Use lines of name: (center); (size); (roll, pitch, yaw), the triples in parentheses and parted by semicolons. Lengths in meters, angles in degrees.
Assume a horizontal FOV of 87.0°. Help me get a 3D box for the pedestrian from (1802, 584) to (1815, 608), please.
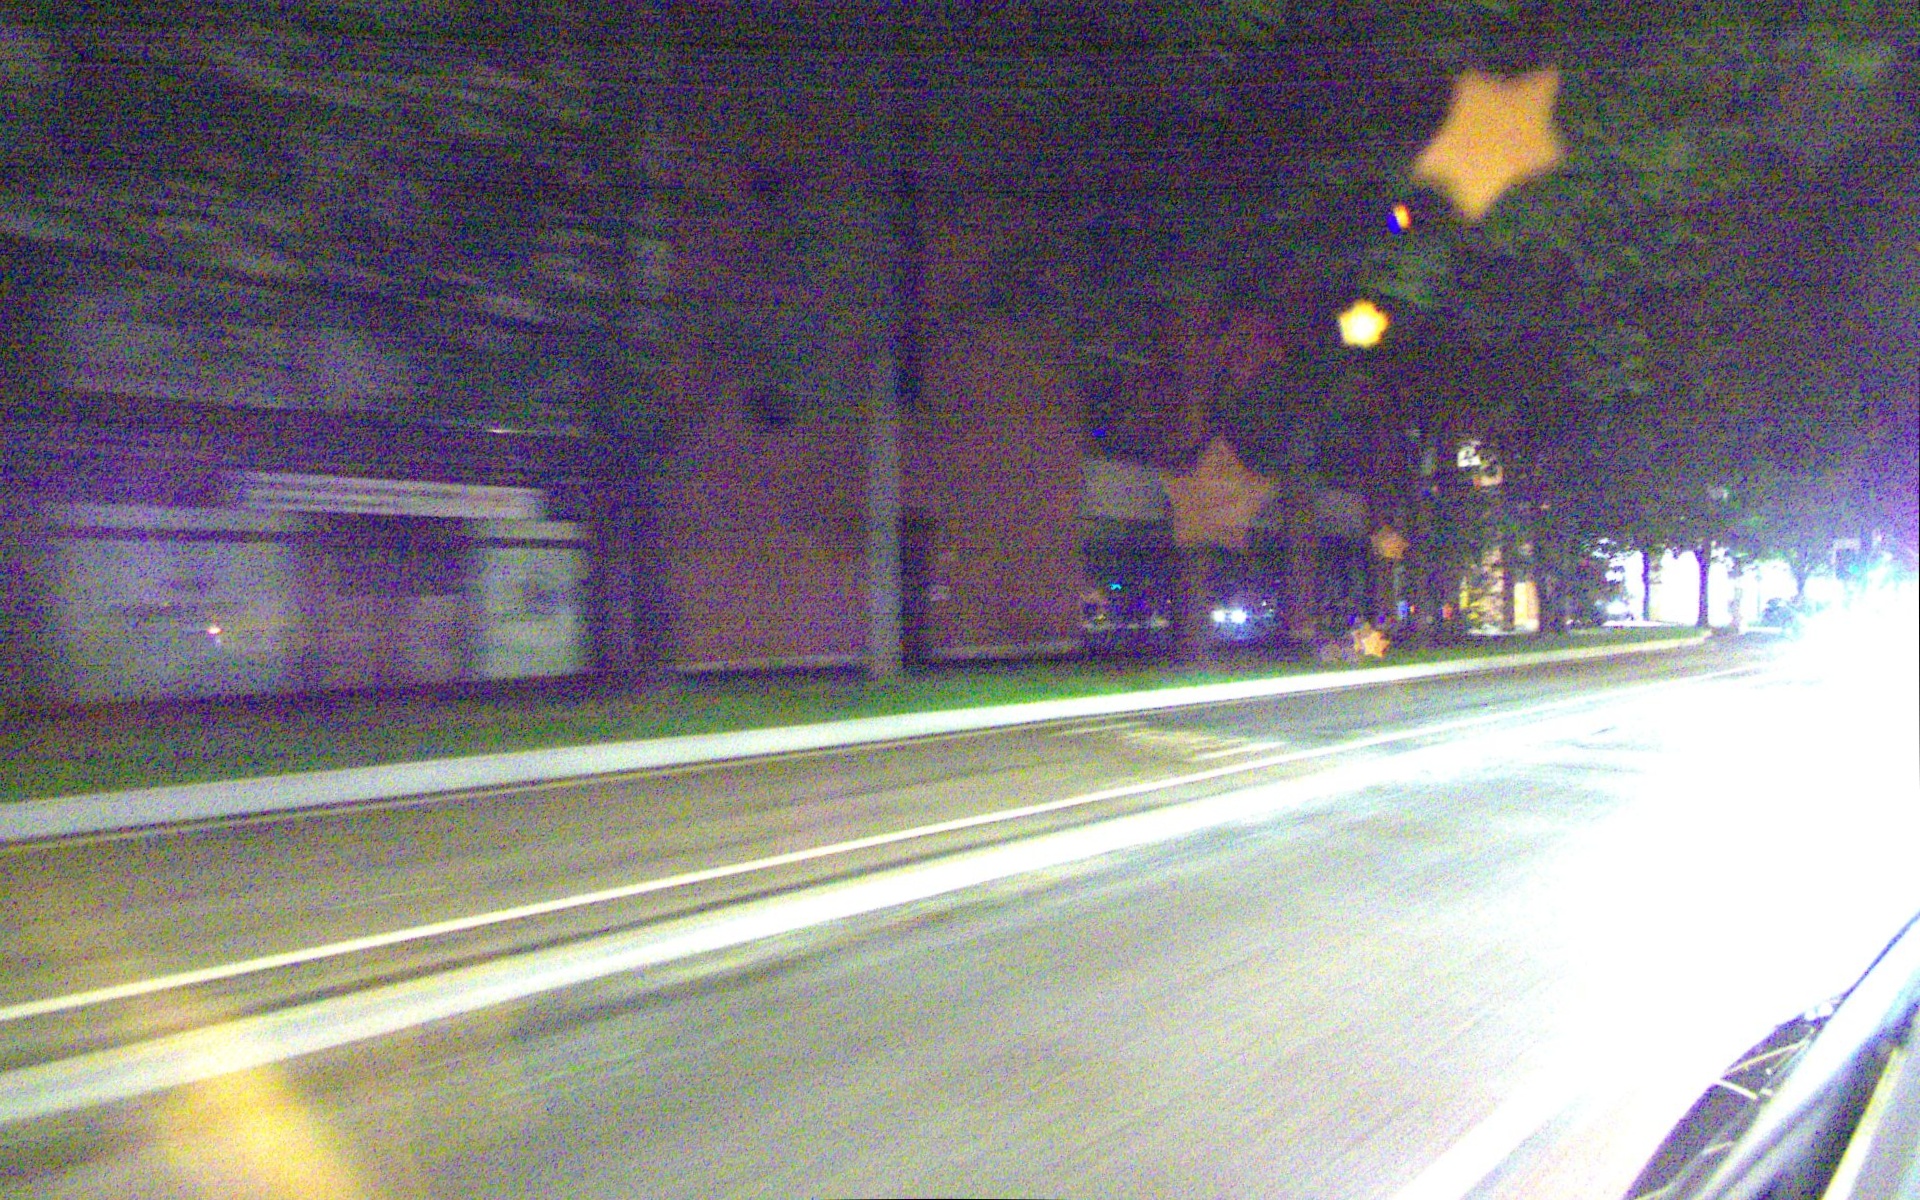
pedestrian: (66.909, -0.315, 79.808); (0.890, 1.839, 0.675); (0, 1, -40)

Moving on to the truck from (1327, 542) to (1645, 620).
truck: (30.243, -1.123, 59.803); (3.077, 4.033, 16.810); (-1, 2, -40)

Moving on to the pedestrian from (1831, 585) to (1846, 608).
pedestrian: (67.961, -0.282, 78.282); (0.968, 1.738, 0.736); (0, 1, -40)

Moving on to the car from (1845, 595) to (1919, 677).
car: (18.806, 0.630, 19.723); (4.419, 1.448, 1.727); (-1, 0, -41)

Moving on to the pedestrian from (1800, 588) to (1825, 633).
pedestrian: (31.952, 0.383, 37.933); (0.667, 1.659, 0.622); (0, 1, -40)

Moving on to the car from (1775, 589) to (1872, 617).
car: (50.075, 0.152, 58.742); (1.756, 1.472, 4.089); (-1, 2, -41)

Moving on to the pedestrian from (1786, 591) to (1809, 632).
pedestrian: (32.549, 0.429, 39.344); (0.622, 1.553, 0.573); (0, 1, -40)

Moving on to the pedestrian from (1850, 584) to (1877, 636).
pedestrian: (32.362, 0.334, 36.265); (0.746, 1.834, 0.623); (0, 1, -40)

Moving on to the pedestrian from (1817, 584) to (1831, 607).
pedestrian: (67.438, -0.341, 78.992); (0.953, 1.811, 0.720); (0, 1, -40)
